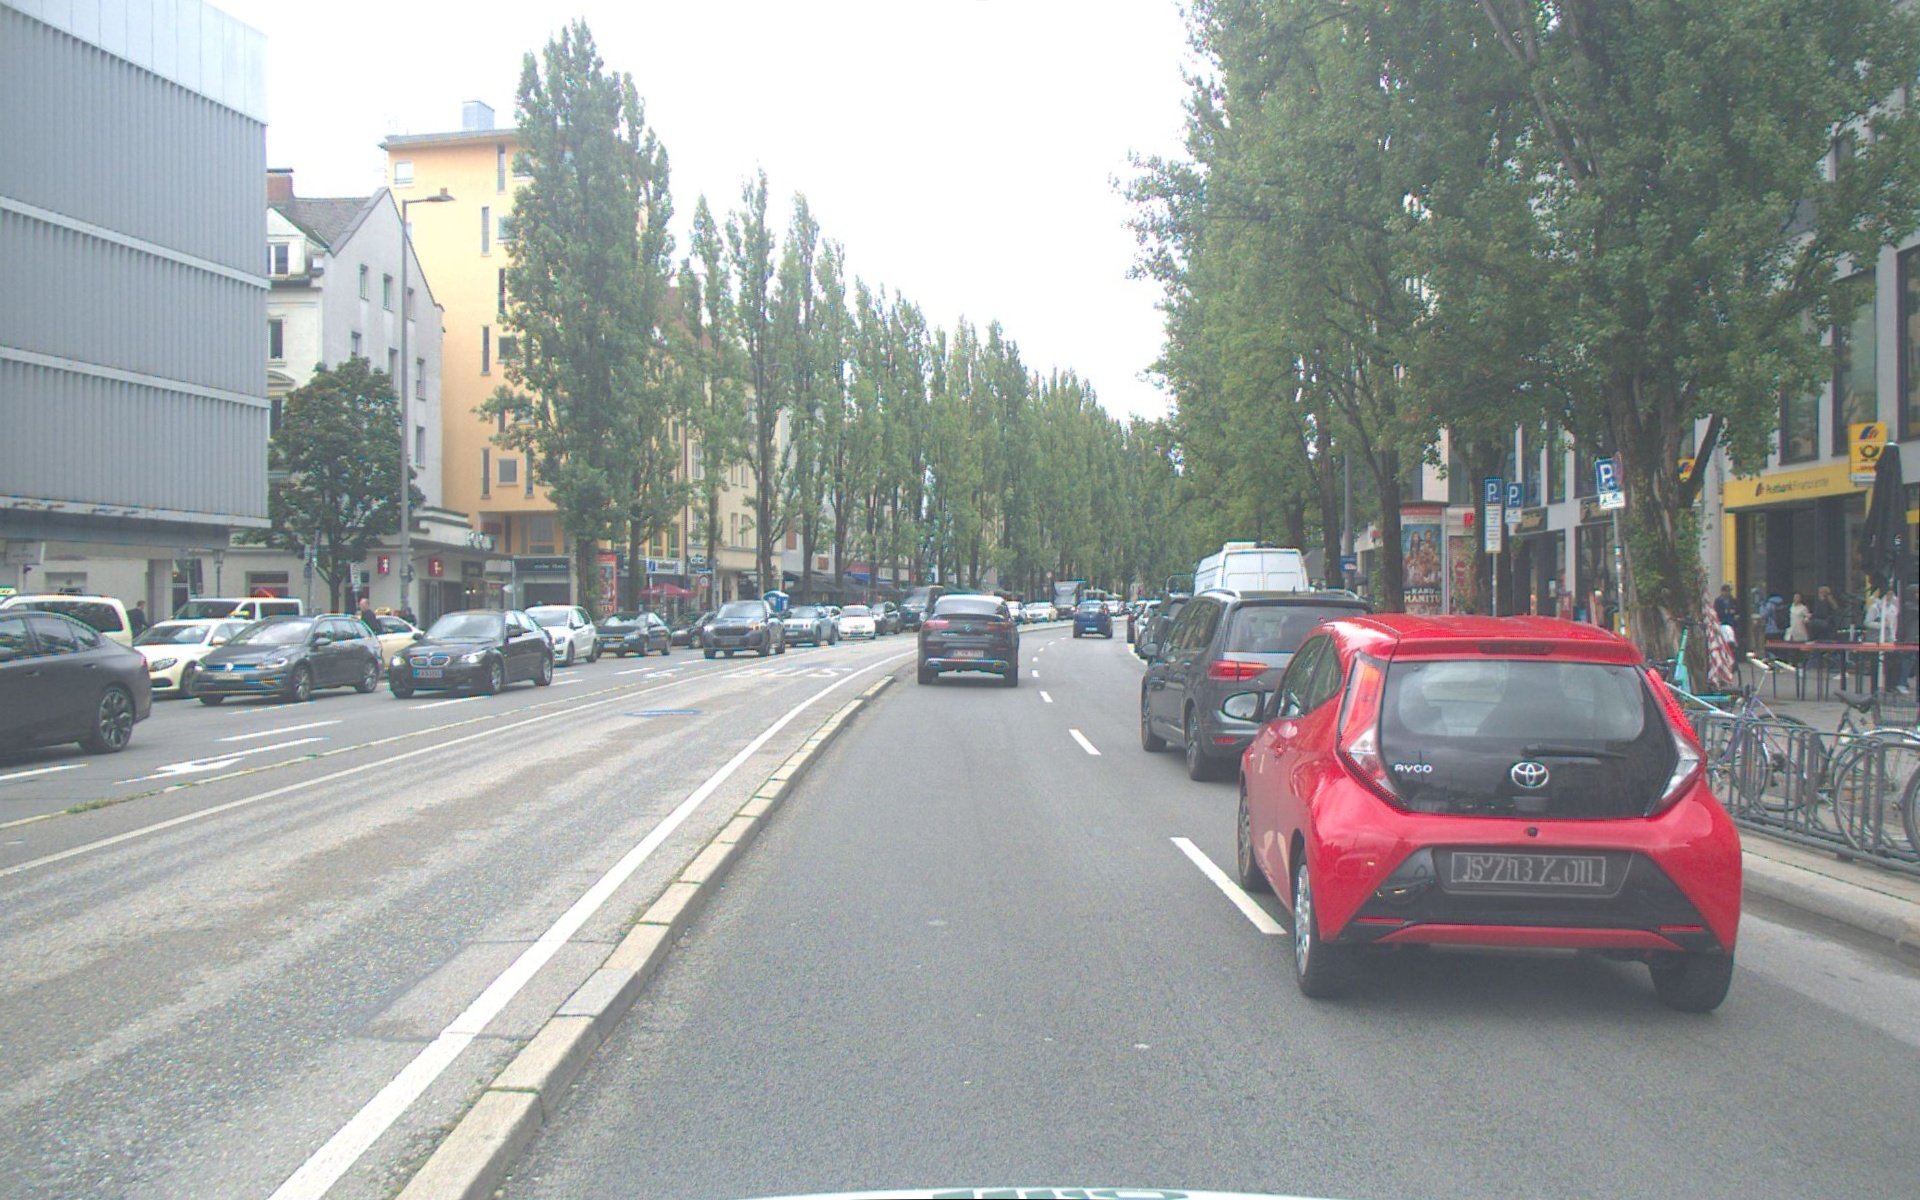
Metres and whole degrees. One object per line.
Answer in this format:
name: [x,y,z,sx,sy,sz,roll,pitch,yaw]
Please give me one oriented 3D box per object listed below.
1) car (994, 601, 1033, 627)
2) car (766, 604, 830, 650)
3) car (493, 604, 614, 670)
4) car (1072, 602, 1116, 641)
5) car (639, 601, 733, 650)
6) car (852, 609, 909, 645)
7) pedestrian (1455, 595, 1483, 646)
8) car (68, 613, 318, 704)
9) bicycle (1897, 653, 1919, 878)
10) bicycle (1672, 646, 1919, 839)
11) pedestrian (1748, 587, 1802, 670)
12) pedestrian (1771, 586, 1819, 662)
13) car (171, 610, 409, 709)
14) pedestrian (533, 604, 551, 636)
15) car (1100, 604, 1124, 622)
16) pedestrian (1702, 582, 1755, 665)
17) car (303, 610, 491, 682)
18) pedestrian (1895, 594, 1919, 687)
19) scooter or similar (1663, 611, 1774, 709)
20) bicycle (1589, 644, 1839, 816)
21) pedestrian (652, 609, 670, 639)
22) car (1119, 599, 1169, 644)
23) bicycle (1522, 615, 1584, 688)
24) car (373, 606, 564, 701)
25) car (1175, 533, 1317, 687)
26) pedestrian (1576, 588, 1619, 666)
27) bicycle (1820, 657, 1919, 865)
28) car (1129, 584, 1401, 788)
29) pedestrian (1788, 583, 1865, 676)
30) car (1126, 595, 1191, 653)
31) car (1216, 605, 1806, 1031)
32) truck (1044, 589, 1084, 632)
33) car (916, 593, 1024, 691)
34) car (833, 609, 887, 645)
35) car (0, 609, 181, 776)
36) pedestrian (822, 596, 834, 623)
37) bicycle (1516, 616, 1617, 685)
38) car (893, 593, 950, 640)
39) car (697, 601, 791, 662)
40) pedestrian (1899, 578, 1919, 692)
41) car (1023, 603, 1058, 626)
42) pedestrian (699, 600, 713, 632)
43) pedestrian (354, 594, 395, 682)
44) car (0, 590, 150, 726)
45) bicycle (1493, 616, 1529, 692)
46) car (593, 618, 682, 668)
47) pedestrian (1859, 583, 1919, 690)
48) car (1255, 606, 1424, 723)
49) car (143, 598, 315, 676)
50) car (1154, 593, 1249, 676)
car: [3.589,0.920,110.100,1.869,1.631,4.359,-1,0,11]
car: [-6.104,0.999,62.661,1.779,1.572,4.001,-3,0,3]
car: [-10.740,0.934,43.982,1.952,1.628,4.291,-1,0,3]
car: [6.083,0.976,74.658,1.722,1.648,3.749,1,-1,8]
car: [-10.704,1.006,64.863,1.721,1.848,3.998,1,-1,24]
car: [-4.128,1.390,86.345,1.975,1.746,4.986,-1,0,9]
pedestrian: [16.217,0.659,52.703,0.555,1.604,0.672,-1,0,-23]
car: [-14.718,1.068,32.132,1.935,1.579,5.090,-1,0,8]
bicycle: [5.643,0.887,8.062,1.767,1.124,0.544,4,1,38]
bicycle: [5.635,0.901,10.692,1.767,1.072,0.544,4,1,38]
pedestrian: [16.110,0.548,32.701,0.677,1.613,0.773,-1,0,-1]
pedestrian: [17.548,0.494,34.766,0.748,1.562,0.709,-1,-1,17]
car: [-11.836,0.991,29.660,1.918,1.573,4.950,-1,0,4]
pedestrian: [-19.211,0.918,76.024,0.619,1.460,0.778,-1,0,-1]
car: [15.050,1.297,163.854,1.898,1.671,4.467,-1,0,11]
pedestrian: [15.729,0.476,33.868,0.677,1.678,0.798,-1,0,-1]
car: [-13.324,1.046,39.507,1.817,1.495,4.986,-3,0,13]
pedestrian: [15.642,0.661,26.913,0.636,1.502,0.756,0,-1,38]
scooter or similar: [10.013,0.780,21.838,1.442,1.228,0.398,-1,0,-19]
bicycle: [5.516,0.918,12.146,1.546,1.072,0.544,4,1,38]
pedestrian: [-15.809,1.276,87.399,0.620,1.589,0.816,-1,0,13]
car: [7.550,0.877,67.640,1.884,1.730,4.653,1,-1,8]
bicycle: [10.026,0.847,27.994,0.467,1.180,1.633,0,0,0]
car: [-8.682,0.892,29.681,1.797,1.513,4.736,-1,0,3]
car: [5.621,0.221,33.175,1.952,2.789,5.555,1,-1,1]
pedestrian: [14.552,0.610,37.744,0.707,1.755,0.737,-2,-1,37]
bicycle: [5.583,0.910,8.732,1.767,1.072,0.365,4,1,38]
car: [2.680,0.701,15.469,1.725,1.642,4.183,0,0,-1]
pedestrian: [15.797,0.531,30.170,0.785,1.665,1.021,-1,0,-9]
car: [6.136,0.726,51.491,1.691,1.716,4.410,0,0,3]
car: [2.227,0.792,7.649,1.630,1.471,3.597,1,-1,2]
truck: [8.572,0.817,136.023,2.242,3.381,7.163,-2,0,12]
car: [0.179,0.731,30.981,1.842,1.670,4.583,-1,0,0]
car: [-4.653,1.234,77.660,1.912,1.617,4.003,-1,0,6]
car: [-9.902,0.891,16.109,1.951,1.534,5.024,-1,0,4]
pedestrian: [-9.139,0.645,114.539,0.624,1.894,0.648,-1,0,12]
bicycle: [10.721,0.880,29.273,1.593,1.180,0.705,0,0,13]
car: [-2.252,0.951,98.086,2.123,2.651,6.069,-1,0,11]
car: [-6.204,0.877,47.994,1.952,1.649,4.414,-2,0,2]
pedestrian: [14.929,0.529,25.487,0.567,1.731,0.597,-1,0,7]
car: [6.051,1.049,123.179,1.951,1.616,5.200,-2,0,9]
pedestrian: [-14.270,0.895,92.795,0.527,1.777,0.756,0,0,12]
pedestrian: [-12.806,0.820,36.148,0.776,1.900,0.840,0,0,-24]
car: [-15.390,0.911,26.565,1.952,2.049,5.323,-1,0,2]
bicycle: [9.079,0.867,27.294,0.467,1.180,1.826,0,0,16]
car: [-10.117,1.326,52.219,1.693,1.433,4.689,-1,0,2]
pedestrian: [14.251,0.552,25.323,0.628,1.611,0.635,-1,0,7]
car: [5.355,0.854,23.801,1.689,1.479,4.149,2,0,4]
car: [-20.300,0.976,46.189,1.951,2.049,5.116,-1,0,8]
car: [5.722,0.791,39.649,1.888,1.836,4.782,1,0,4]
